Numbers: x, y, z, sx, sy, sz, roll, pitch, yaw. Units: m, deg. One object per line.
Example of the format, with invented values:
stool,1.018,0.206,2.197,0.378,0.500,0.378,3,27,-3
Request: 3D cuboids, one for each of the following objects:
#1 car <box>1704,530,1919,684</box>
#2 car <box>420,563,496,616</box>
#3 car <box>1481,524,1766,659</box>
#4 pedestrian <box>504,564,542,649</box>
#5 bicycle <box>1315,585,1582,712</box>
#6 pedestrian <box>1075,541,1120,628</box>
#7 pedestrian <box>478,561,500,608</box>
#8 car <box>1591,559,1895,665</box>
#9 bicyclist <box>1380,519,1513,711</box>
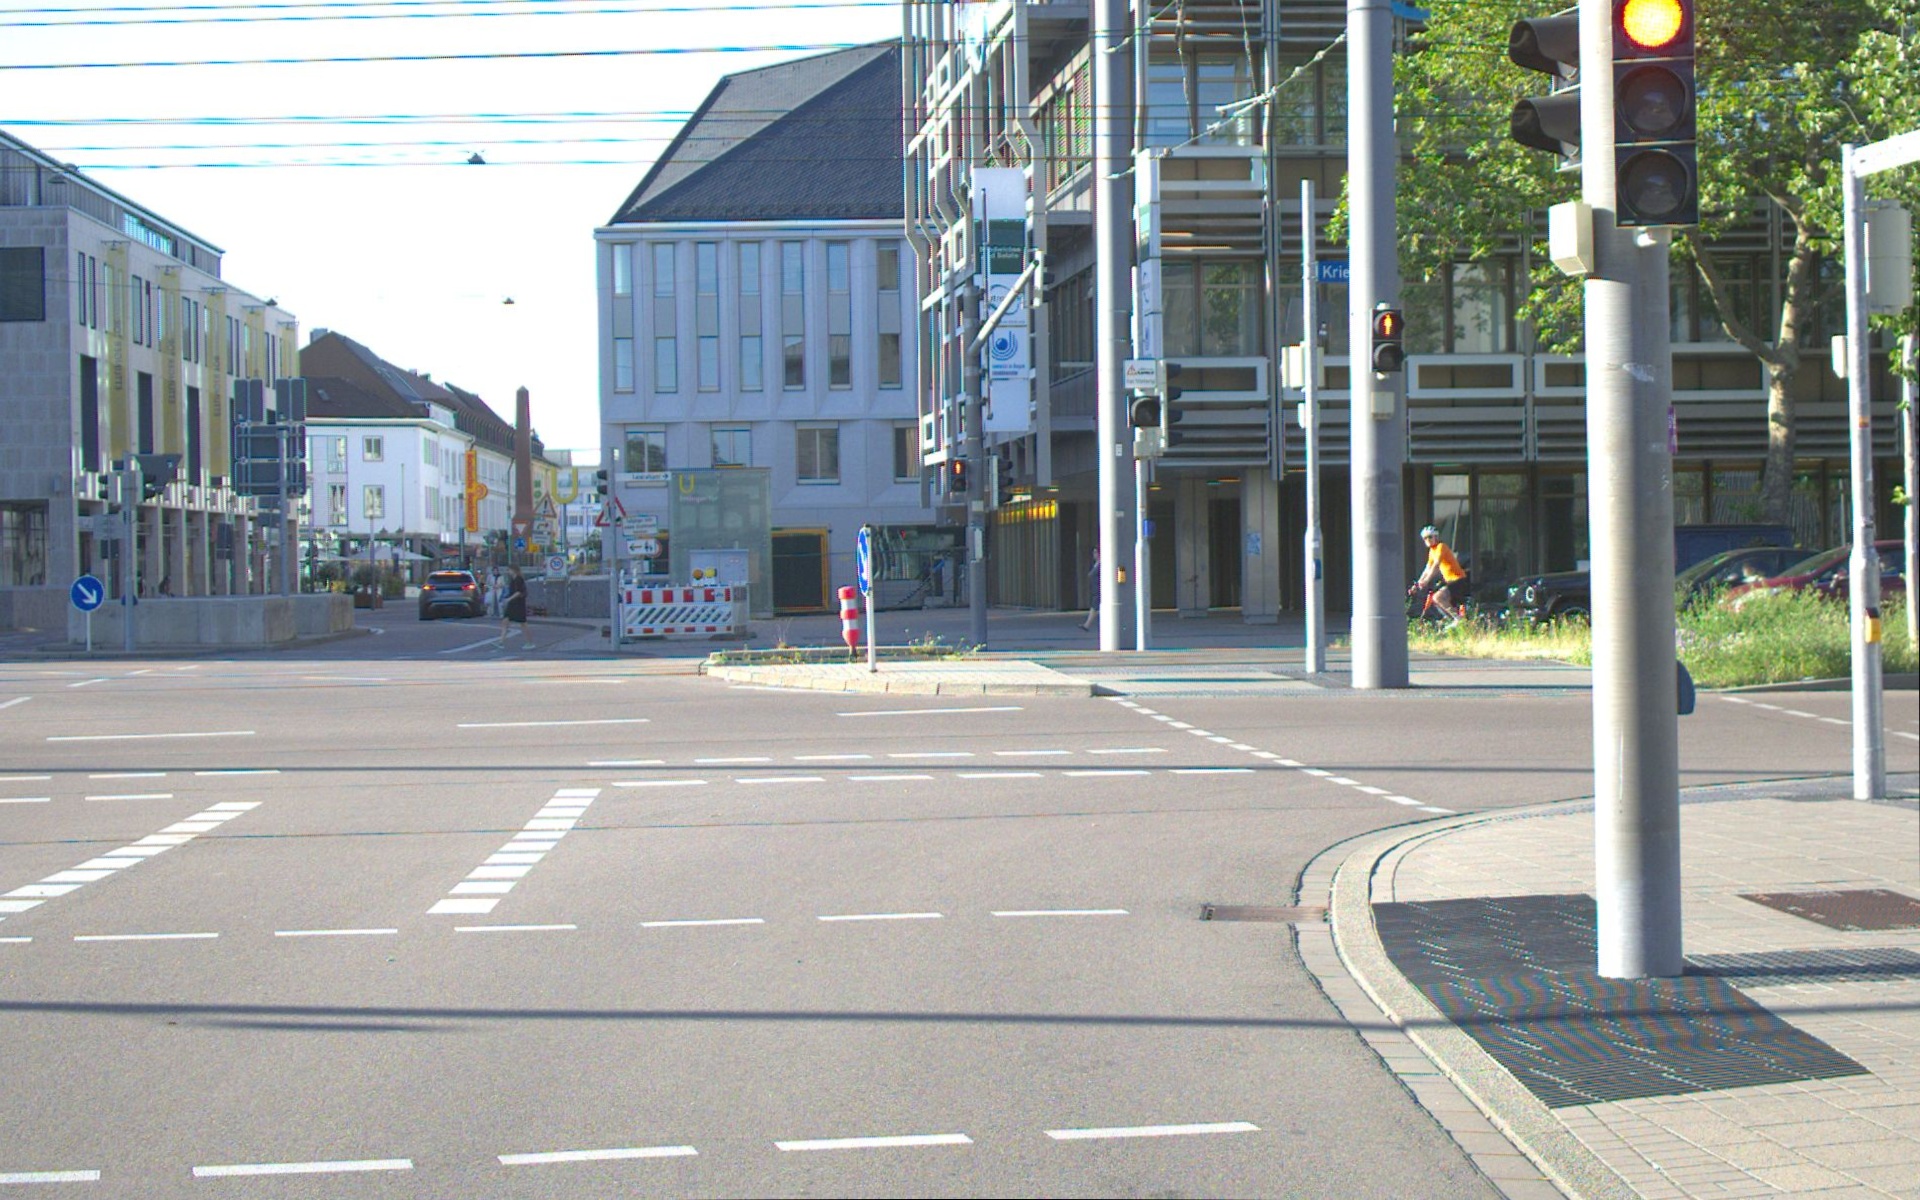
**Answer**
car,12.289,0.092,46.400,3.986,2.007,2.000,1,0,-3
car,-15.806,-0.348,108.413,2.199,1.601,4.327,-1,1,-6
car,10.347,-0.139,53.768,3.986,2.007,2.000,1,0,-3
pedestrian,-8.557,0.124,67.296,0.663,1.652,0.755,-1,1,-3
bicycle,6.695,0.653,47.137,3.490,1.653,0.932,-1,1,-9
pedestrian,2.617,-0.302,65.535,0.729,1.652,0.651,-1,1,-7
pedestrian,-14.362,-0.483,104.813,0.609,1.406,0.570,-1,1,-6
car,11.495,0.162,50.652,3.986,1.503,1.868,0,1,-3
bicyclist,6.663,0.194,47.131,1.567,2.571,0.932,-1,1,-9
